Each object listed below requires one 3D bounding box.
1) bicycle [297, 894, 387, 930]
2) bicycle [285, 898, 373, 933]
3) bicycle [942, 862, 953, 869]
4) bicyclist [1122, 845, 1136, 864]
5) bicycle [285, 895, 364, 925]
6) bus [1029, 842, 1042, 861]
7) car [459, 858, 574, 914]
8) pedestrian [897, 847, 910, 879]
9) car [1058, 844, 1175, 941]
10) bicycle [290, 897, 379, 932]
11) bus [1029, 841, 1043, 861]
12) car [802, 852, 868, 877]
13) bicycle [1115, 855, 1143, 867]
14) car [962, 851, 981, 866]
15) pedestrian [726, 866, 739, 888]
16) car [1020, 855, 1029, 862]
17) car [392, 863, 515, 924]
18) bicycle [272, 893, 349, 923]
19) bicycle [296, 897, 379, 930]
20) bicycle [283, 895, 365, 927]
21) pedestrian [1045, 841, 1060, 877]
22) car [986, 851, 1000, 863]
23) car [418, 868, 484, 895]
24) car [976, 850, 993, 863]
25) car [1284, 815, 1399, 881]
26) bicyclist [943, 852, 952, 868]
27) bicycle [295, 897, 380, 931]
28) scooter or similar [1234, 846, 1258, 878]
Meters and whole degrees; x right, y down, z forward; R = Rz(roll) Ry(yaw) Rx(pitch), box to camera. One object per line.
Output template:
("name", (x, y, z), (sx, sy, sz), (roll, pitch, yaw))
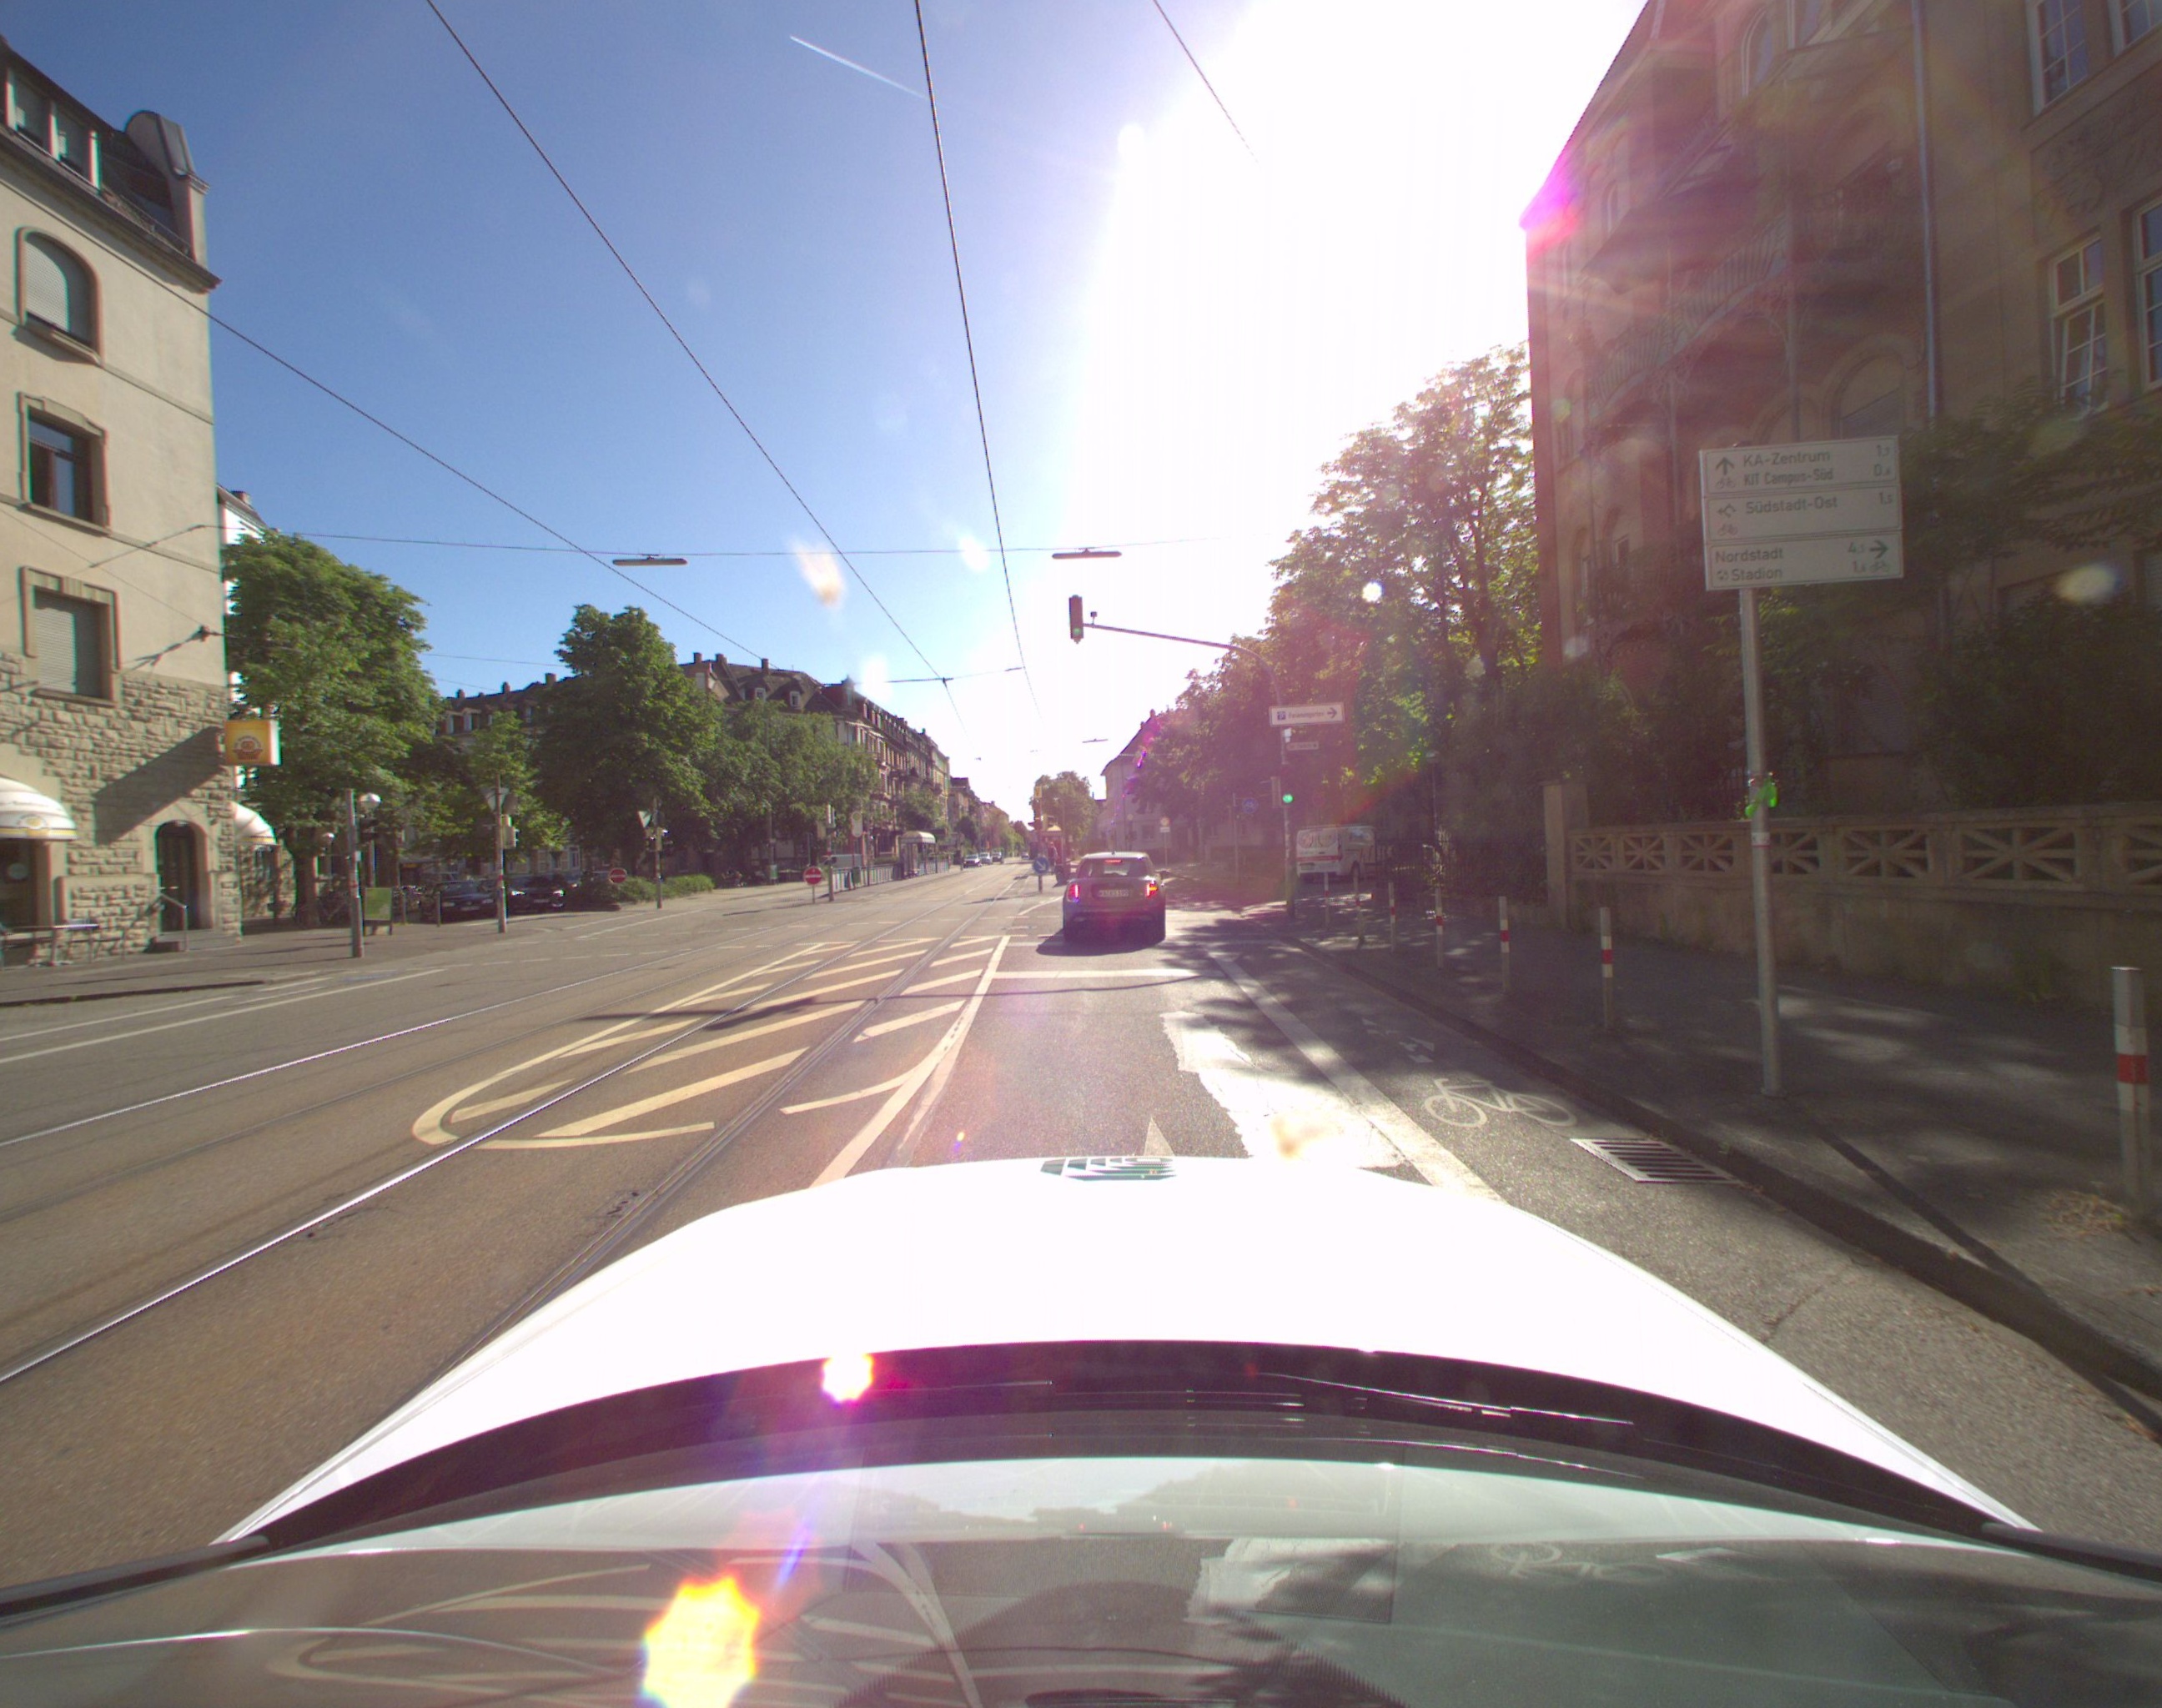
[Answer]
("bicycle", (-23.705, 1.839, 26.150), (0.602, 0.980, 2.051), (-2, 0, 37))
("bicycle", (-24.964, 2.021, 27.068), (0.602, 0.980, 2.051), (-2, 0, 37))
("bicycle", (-14.216, 1.249, 86.694), (0.716, 0.749, 1.917), (-2, 0, 2))
("bicyclist", (4.598, 0.015, 78.367), (1.045, 1.811, 0.825), (-2, -1, 33))
("bicycle", (-27.809, 2.041, 29.979), (0.602, 0.980, 2.051), (-2, 0, 37))
("bus", (-8.961, -0.480, 160.130), (2.381, 3.496, 7.372), (-2, 0, -4))
("car", (-21.865, 1.220, 31.529), (3.949, 2.014, 2.012), (-2, 0, 28))
("pedestrian", (-10.313, 0.524, 47.290), (0.605, 1.795, 0.578), (-3, 0, -4))
("car", (0.726, 0.618, 14.868), (1.807, 1.488, 4.005), (-2, 0, 5))
("bicycle", (-24.343, 1.968, 26.605), (0.602, 0.980, 2.051), (-2, 0, 37))
("bus", (-8.394, -0.507, 152.761), (2.381, 3.496, 7.372), (-2, 0, -4))
("car", (-21.200, 0.868, 70.226), (5.058, 2.013, 1.975), (-1, -1, -43))
("bicycle", (4.612, 0.677, 78.329), (2.506, 1.156, 0.850), (-2, -1, 33))
("car", (-12.341, 0.500, 91.887), (1.772, 1.618, 3.995), (-2, 0, -4))
("pedestrian", (-20.046, 1.306, 46.869), (0.579, 1.201, 0.604), (-4, 0, -19))
("car", (-14.664, 1.147, 210.661), (1.988, 1.596, 3.998), (-2, 0, -1))
("car", (-22.601, 1.404, 29.311), (3.949, 2.014, 2.012), (-2, 0, 28))
("bicycle", (-29.425, 2.039, 31.127), (0.602, 0.980, 2.051), (-2, 0, 37))
("bicycle", (-25.955, 2.062, 28.464), (0.602, 0.980, 2.051), (-2, 0, 37))
("bicycle", (-26.837, 2.008, 28.918), (0.602, 0.980, 2.051), (-2, 0, 37))
("pedestrian", (-1.588, 0.290, 45.937), (0.793, 2.014, 0.740), (-2, -1, -2))
("car", (-12.520, 0.411, 115.956), (1.772, 1.618, 3.995), (-2, 0, -4))
("car", (-51.674, 2.258, 66.805), (4.537, 2.014, 2.010), (-2, 0, 19))
("car", (-12.223, 0.356, 103.285), (1.772, 1.618, 3.995), (-2, 0, -4))
("car", (9.597, -0.212, 29.735), (2.098, 2.208, 4.975), (-2, 0, 42))
("bicyclist", (-14.228, 0.623, 86.674), (0.711, 1.665, 0.735), (-2, -1, 2))
("bicycle", (-25.373, 2.034, 27.840), (0.602, 0.980, 2.051), (-2, 0, 37))
("scooter or similar", (6.880, 0.327, 34.071), (0.674, 1.310, 1.328), (-2, 0, -1))
